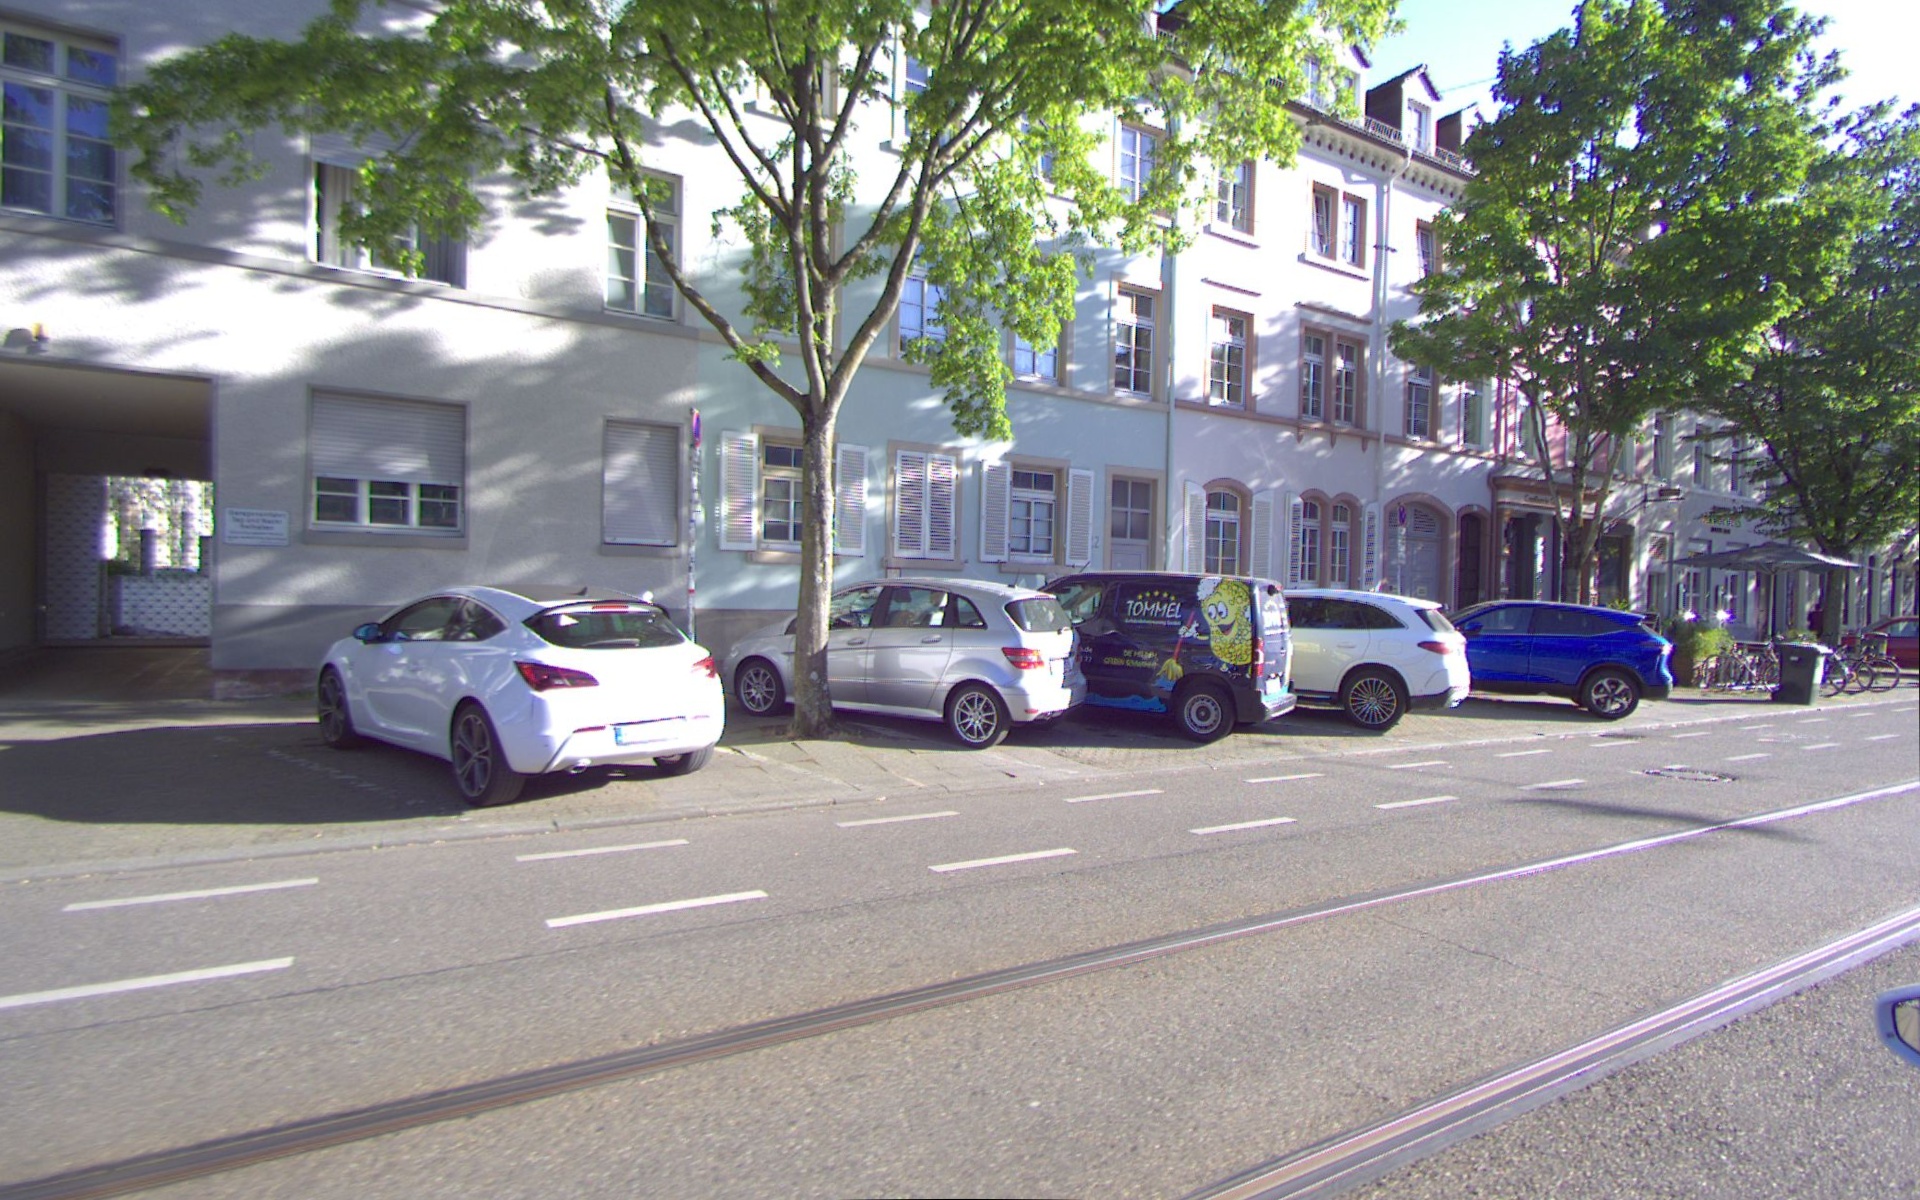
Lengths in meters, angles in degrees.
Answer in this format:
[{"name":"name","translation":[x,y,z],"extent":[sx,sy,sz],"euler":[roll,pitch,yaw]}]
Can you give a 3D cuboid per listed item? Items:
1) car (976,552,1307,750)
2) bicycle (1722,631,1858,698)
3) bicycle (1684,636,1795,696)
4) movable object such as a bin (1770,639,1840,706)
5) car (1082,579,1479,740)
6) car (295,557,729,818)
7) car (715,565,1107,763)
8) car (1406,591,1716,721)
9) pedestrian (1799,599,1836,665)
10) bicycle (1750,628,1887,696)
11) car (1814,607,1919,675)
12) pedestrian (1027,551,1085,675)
[{"name":"car","translation":[2.144,0.505,11.921],"extent":[3.383,1.867,1.731],"euler":[5,2,28]},{"name":"bicycle","translation":[16.377,1.247,19.884],"extent":[0.561,1.094,1.959],"euler":[1,3,-28]},{"name":"bicycle","translation":[14.863,1.236,19.188],"extent":[0.386,1.001,1.585],"euler":[0,2,-41]},{"name":"movable object such as a bin","translation":[14.905,1.261,17.731],"extent":[0.701,1.092,0.680],"euler":[1,4,-30]},{"name":"car","translation":[4.369,0.673,13.861],"extent":[4.852,1.818,2.205],"euler":[1,0,30]},{"name":"car","translation":[-3.826,0.534,8.356],"extent":[3.592,1.550,1.878],"euler":[5,2,40]},{"name":"car","translation":[-0.581,0.544,11.066],"extent":[3.928,1.679,1.807],"euler":[4,3,29]},{"name":"car","translation":[9.044,0.790,15.502],"extent":[3.827,1.630,1.573],"euler":[3,1,23]},{"name":"pedestrian","translation":[26.872,1.000,31.478],"extent":[0.550,2.040,0.728],"euler":[1,0,-30]},{"name":"bicycle","translation":[17.510,1.232,20.549],"extent":[0.560,1.102,1.994],"euler":[1,5,-28]},{"name":"car","translation":[24.666,1.089,26.040],"extent":[3.563,1.575,1.664],"euler":[3,3,33]},{"name":"pedestrian","translation":[1.478,0.201,15.564],"extent":[0.617,1.862,0.640],"euler":[1,0,-30]}]
